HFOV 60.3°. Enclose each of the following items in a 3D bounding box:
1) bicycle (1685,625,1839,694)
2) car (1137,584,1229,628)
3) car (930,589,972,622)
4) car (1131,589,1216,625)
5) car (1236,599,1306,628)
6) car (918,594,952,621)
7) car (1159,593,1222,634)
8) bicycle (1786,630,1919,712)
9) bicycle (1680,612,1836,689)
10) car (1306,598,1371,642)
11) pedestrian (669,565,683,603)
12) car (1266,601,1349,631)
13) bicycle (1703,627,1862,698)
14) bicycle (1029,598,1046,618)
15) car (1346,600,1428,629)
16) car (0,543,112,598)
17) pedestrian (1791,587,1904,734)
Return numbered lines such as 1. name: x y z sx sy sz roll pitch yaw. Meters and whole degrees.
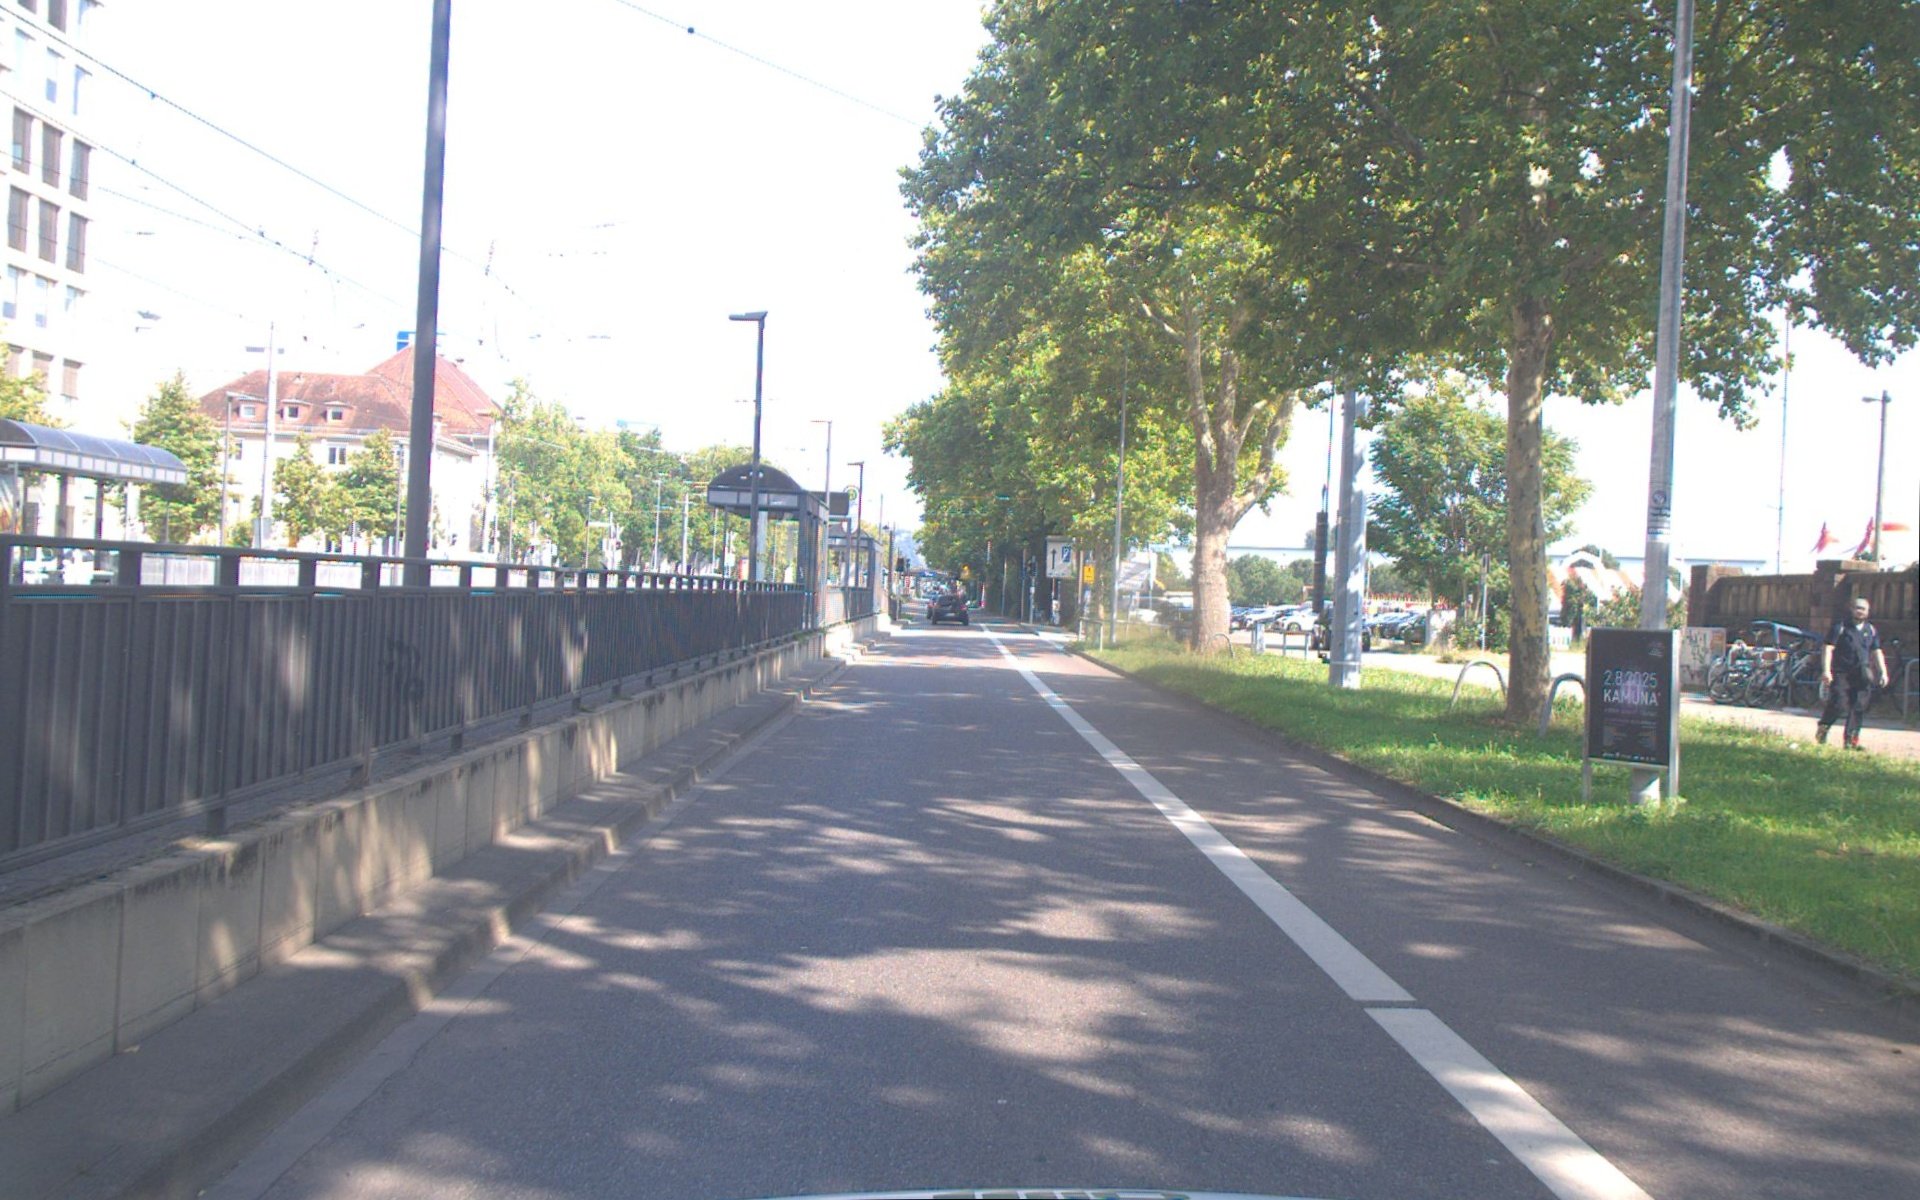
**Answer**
1. bicycle: 13.011 0.962 26.860 2.128 1.095 0.743 0 0 2
2. car: 10.270 0.279 76.316 4.018 1.952 1.848 1 0 2
3. car: -0.453 0.242 79.015 1.869 1.564 3.999 1 0 -2
4. car: 10.595 0.333 82.271 3.907 1.614 1.999 2 0 -2
5. car: 21.223 0.884 112.904 4.257 1.742 1.946 3 0 -3
6. car: -1.504 0.429 98.555 1.933 1.564 3.999 -1 0 -2
7. car: 8.716 0.490 62.891 1.693 1.474 4.550 1 0 -1
8. bicycle: 13.161 1.023 23.837 2.130 1.095 0.743 2 0 -3
9. bicycle: 13.665 0.860 28.373 2.199 1.299 0.998 0 -1 -2
10. car: 14.671 0.761 64.217 1.575 1.603 3.796 1 0 -1
11. pedestrian: -13.953 -0.770 81.254 0.694 1.853 0.771 1 -1 -10
12. car: 19.936 0.902 95.050 4.257 1.489 1.946 3 0 -3
13. bicycle: 12.933 0.975 26.043 2.128 1.095 0.743 0 0 2
14. bicycle: 4.289 0.415 91.314 0.598 1.039 2.400 2 0 -5
15. car: 25.304 0.865 98.141 4.257 1.489 1.946 3 0 -3
16. car: -25.514 -0.806 46.234 1.676 1.471 4.006 1 0 -2
17. pedestrian: 9.686 0.645 18.072 0.768 1.541 0.786 2 0 -1
